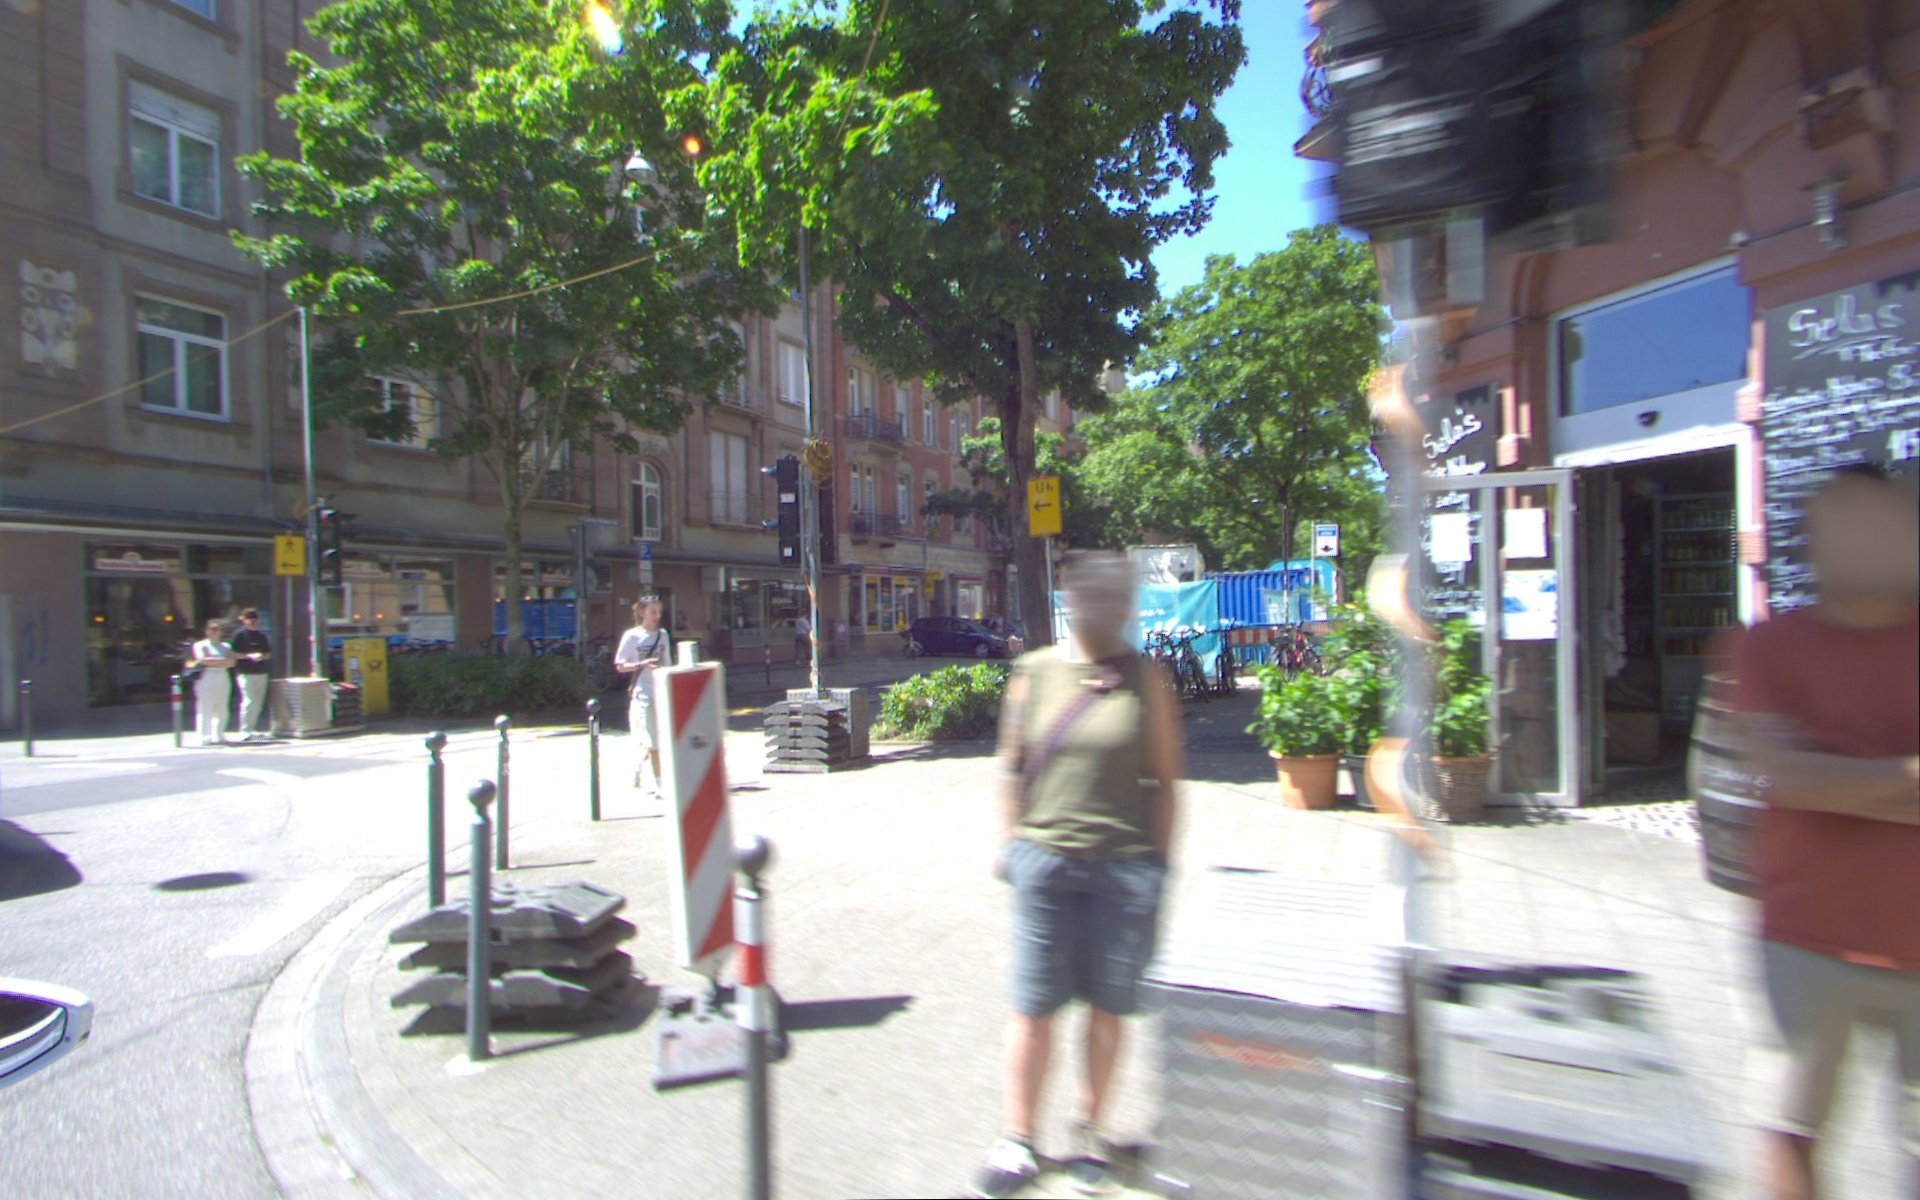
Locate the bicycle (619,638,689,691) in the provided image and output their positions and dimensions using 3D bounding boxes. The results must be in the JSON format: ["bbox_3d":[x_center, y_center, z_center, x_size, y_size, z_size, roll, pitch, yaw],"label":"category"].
[{"bbox_3d":[-6.549,1.360,21.501,0.462,1.019,1.685,1,0,22],"label":"bicycle"}]

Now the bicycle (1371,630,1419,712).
[{"bbox_3d":[5.978,0.941,13.718,0.514,1.021,1.690,-1,0,26],"label":"bicycle"}]

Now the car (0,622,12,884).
[{"bbox_3d":[-7.200,0.886,6.253,3.204,1.505,1.606,-1,-1,42],"label":"car"}]

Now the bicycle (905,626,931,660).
[{"bbox_3d":[-1.401,1.413,33.166,0.534,1.059,1.936,-1,0,-11],"label":"bicycle"}]

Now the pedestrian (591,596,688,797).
[{"bbox_3d":[-2.958,0.860,9.223,0.474,1.755,0.863,-1,-1,-45],"label":"pedestrian"}]

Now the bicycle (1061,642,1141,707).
[{"bbox_3d":[2.230,1.129,15.592,0.501,0.883,2.065,-1,-1,29],"label":"bicycle"}]

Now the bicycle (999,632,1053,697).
[{"bbox_3d":[1.247,1.171,18.621,0.500,1.121,1.781,-1,-1,20],"label":"bicycle"}]

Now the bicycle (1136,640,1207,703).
[{"bbox_3d":[3.426,1.116,16.087,0.501,0.883,2.065,-1,-1,29],"label":"bicycle"}]

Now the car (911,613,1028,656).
[{"bbox_3d":[0.340,1.191,35.462,3.789,1.458,1.787,0,0,24],"label":"car"}]

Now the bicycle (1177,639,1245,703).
[{"bbox_3d":[3.999,1.099,15.860,0.501,0.883,2.065,-1,-1,29],"label":"bicycle"}]

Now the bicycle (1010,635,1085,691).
[{"bbox_3d":[1.578,1.083,17.732,0.501,0.883,2.065,-1,-1,29],"label":"bicycle"}]

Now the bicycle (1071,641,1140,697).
[{"bbox_3d":[2.638,1.207,17.959,0.501,0.883,2.065,-1,-1,29],"label":"bicycle"}]

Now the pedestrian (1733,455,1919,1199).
[{"bbox_3d":[1.639,0.616,1.756,0.396,1.697,0.331,-1,0,32],"label":"pedestrian"}]

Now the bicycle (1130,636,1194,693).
[{"bbox_3d":[3.621,1.120,17.829,0.501,0.883,2.065,-1,-1,29],"label":"bicycle"}]

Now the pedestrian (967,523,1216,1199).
[{"bbox_3d":[0.350,0.621,2.604,0.472,1.580,0.458,-1,0,32],"label":"pedestrian"}]

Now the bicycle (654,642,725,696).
[{"bbox_3d":[-5.576,1.401,20.730,0.462,1.010,1.761,1,0,22],"label":"bicycle"}]

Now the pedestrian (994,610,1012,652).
[{"bbox_3d":[1.634,1.190,38.396,0.535,1.604,0.477,-1,0,24],"label":"pedestrian"}]

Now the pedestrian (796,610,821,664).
[{"bbox_3d":[-4.677,1.131,30.899,0.551,1.636,0.490,-1,0,31],"label":"pedestrian"}]

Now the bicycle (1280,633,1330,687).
[{"bbox_3d":[6.364,1.077,18.416,0.501,0.883,2.065,-1,-1,29],"label":"bicycle"}]

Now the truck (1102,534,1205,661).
[{"bbox_3d":[6.640,-0.032,34.012,2.253,4.006,4.460,-1,0,27],"label":"truck"}]

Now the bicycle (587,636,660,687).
[{"bbox_3d":[-7.272,1.313,21.707,0.462,1.010,1.761,1,0,22],"label":"bicycle"}]

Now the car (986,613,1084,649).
[{"bbox_3d":[3.185,1.309,42.605,3.789,1.458,1.787,0,0,24],"label":"car"}]

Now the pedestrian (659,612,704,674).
[{"bbox_3d":[-7.595,1.159,27.336,0.775,1.655,0.856,-1,0,25],"label":"pedestrian"}]

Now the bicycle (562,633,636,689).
[{"bbox_3d":[-7.810,1.301,21.745,0.462,1.095,1.761,1,0,22],"label":"bicycle"}]

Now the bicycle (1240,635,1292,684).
[{"bbox_3d":[6.227,1.184,20.311,0.502,0.883,2.064,-1,-1,31],"label":"bicycle"}]

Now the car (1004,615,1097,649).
[{"bbox_3d":[4.063,1.403,44.769,3.789,1.458,1.787,0,0,24],"label":"car"}]

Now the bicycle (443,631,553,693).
[{"bbox_3d":[-9.299,1.217,20.223,0.511,1.147,1.969,-1,0,43],"label":"bicycle"}]

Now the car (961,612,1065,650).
[{"bbox_3d":[2.109,1.222,40.117,3.789,1.458,1.787,0,0,24],"label":"car"}]

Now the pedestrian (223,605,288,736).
[{"bbox_3d":[-10.091,0.991,14.347,0.463,1.794,0.575,2,3,18],"label":"pedestrian"}]

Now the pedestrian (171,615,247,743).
[{"bbox_3d":[-10.299,1.062,13.745,0.415,1.668,0.702,2,3,18],"label":"pedestrian"}]

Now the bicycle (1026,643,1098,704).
[{"bbox_3d":[1.678,1.160,16.221,0.501,0.883,1.737,-1,0,29],"label":"bicycle"}]

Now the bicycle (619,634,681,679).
[{"bbox_3d":[-7.666,1.381,24.852,0.496,1.010,1.724,1,0,22],"label":"bicycle"}]

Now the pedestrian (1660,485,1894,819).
[{"bbox_3d":[4.902,0.290,6.055,0.449,1.844,0.938,-4,1,-24],"label":"pedestrian"}]

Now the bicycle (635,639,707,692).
[{"bbox_3d":[-6.076,1.362,21.124,0.462,1.010,1.761,1,0,22],"label":"bicycle"}]
